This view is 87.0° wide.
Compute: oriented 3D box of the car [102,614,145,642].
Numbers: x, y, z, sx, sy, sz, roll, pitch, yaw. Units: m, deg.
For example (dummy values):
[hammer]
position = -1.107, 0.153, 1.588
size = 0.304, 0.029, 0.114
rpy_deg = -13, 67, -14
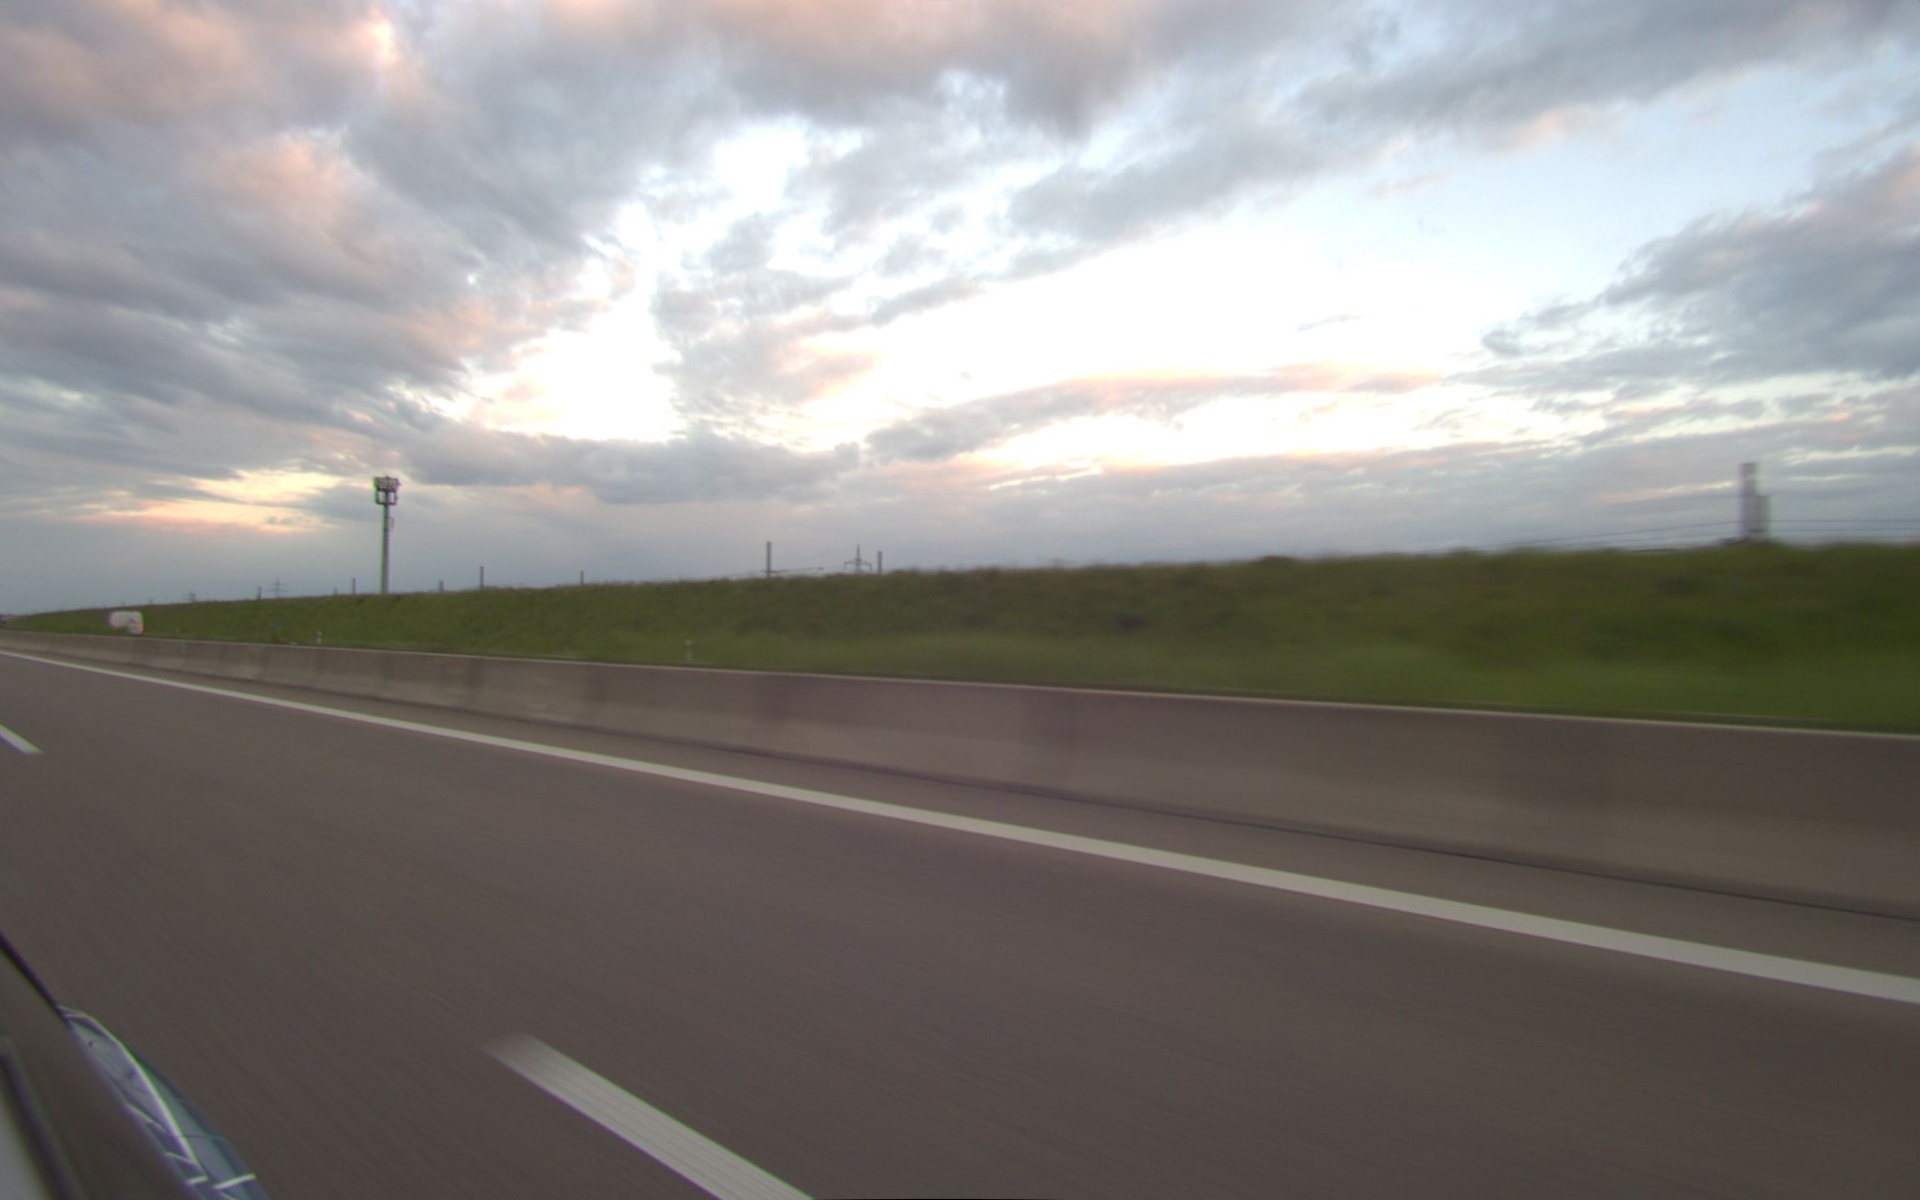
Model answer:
[car]
position = -80.718, 2.714, 97.611
size = 7.374, 2.566, 1.973
rpy_deg = -1, -2, 41
